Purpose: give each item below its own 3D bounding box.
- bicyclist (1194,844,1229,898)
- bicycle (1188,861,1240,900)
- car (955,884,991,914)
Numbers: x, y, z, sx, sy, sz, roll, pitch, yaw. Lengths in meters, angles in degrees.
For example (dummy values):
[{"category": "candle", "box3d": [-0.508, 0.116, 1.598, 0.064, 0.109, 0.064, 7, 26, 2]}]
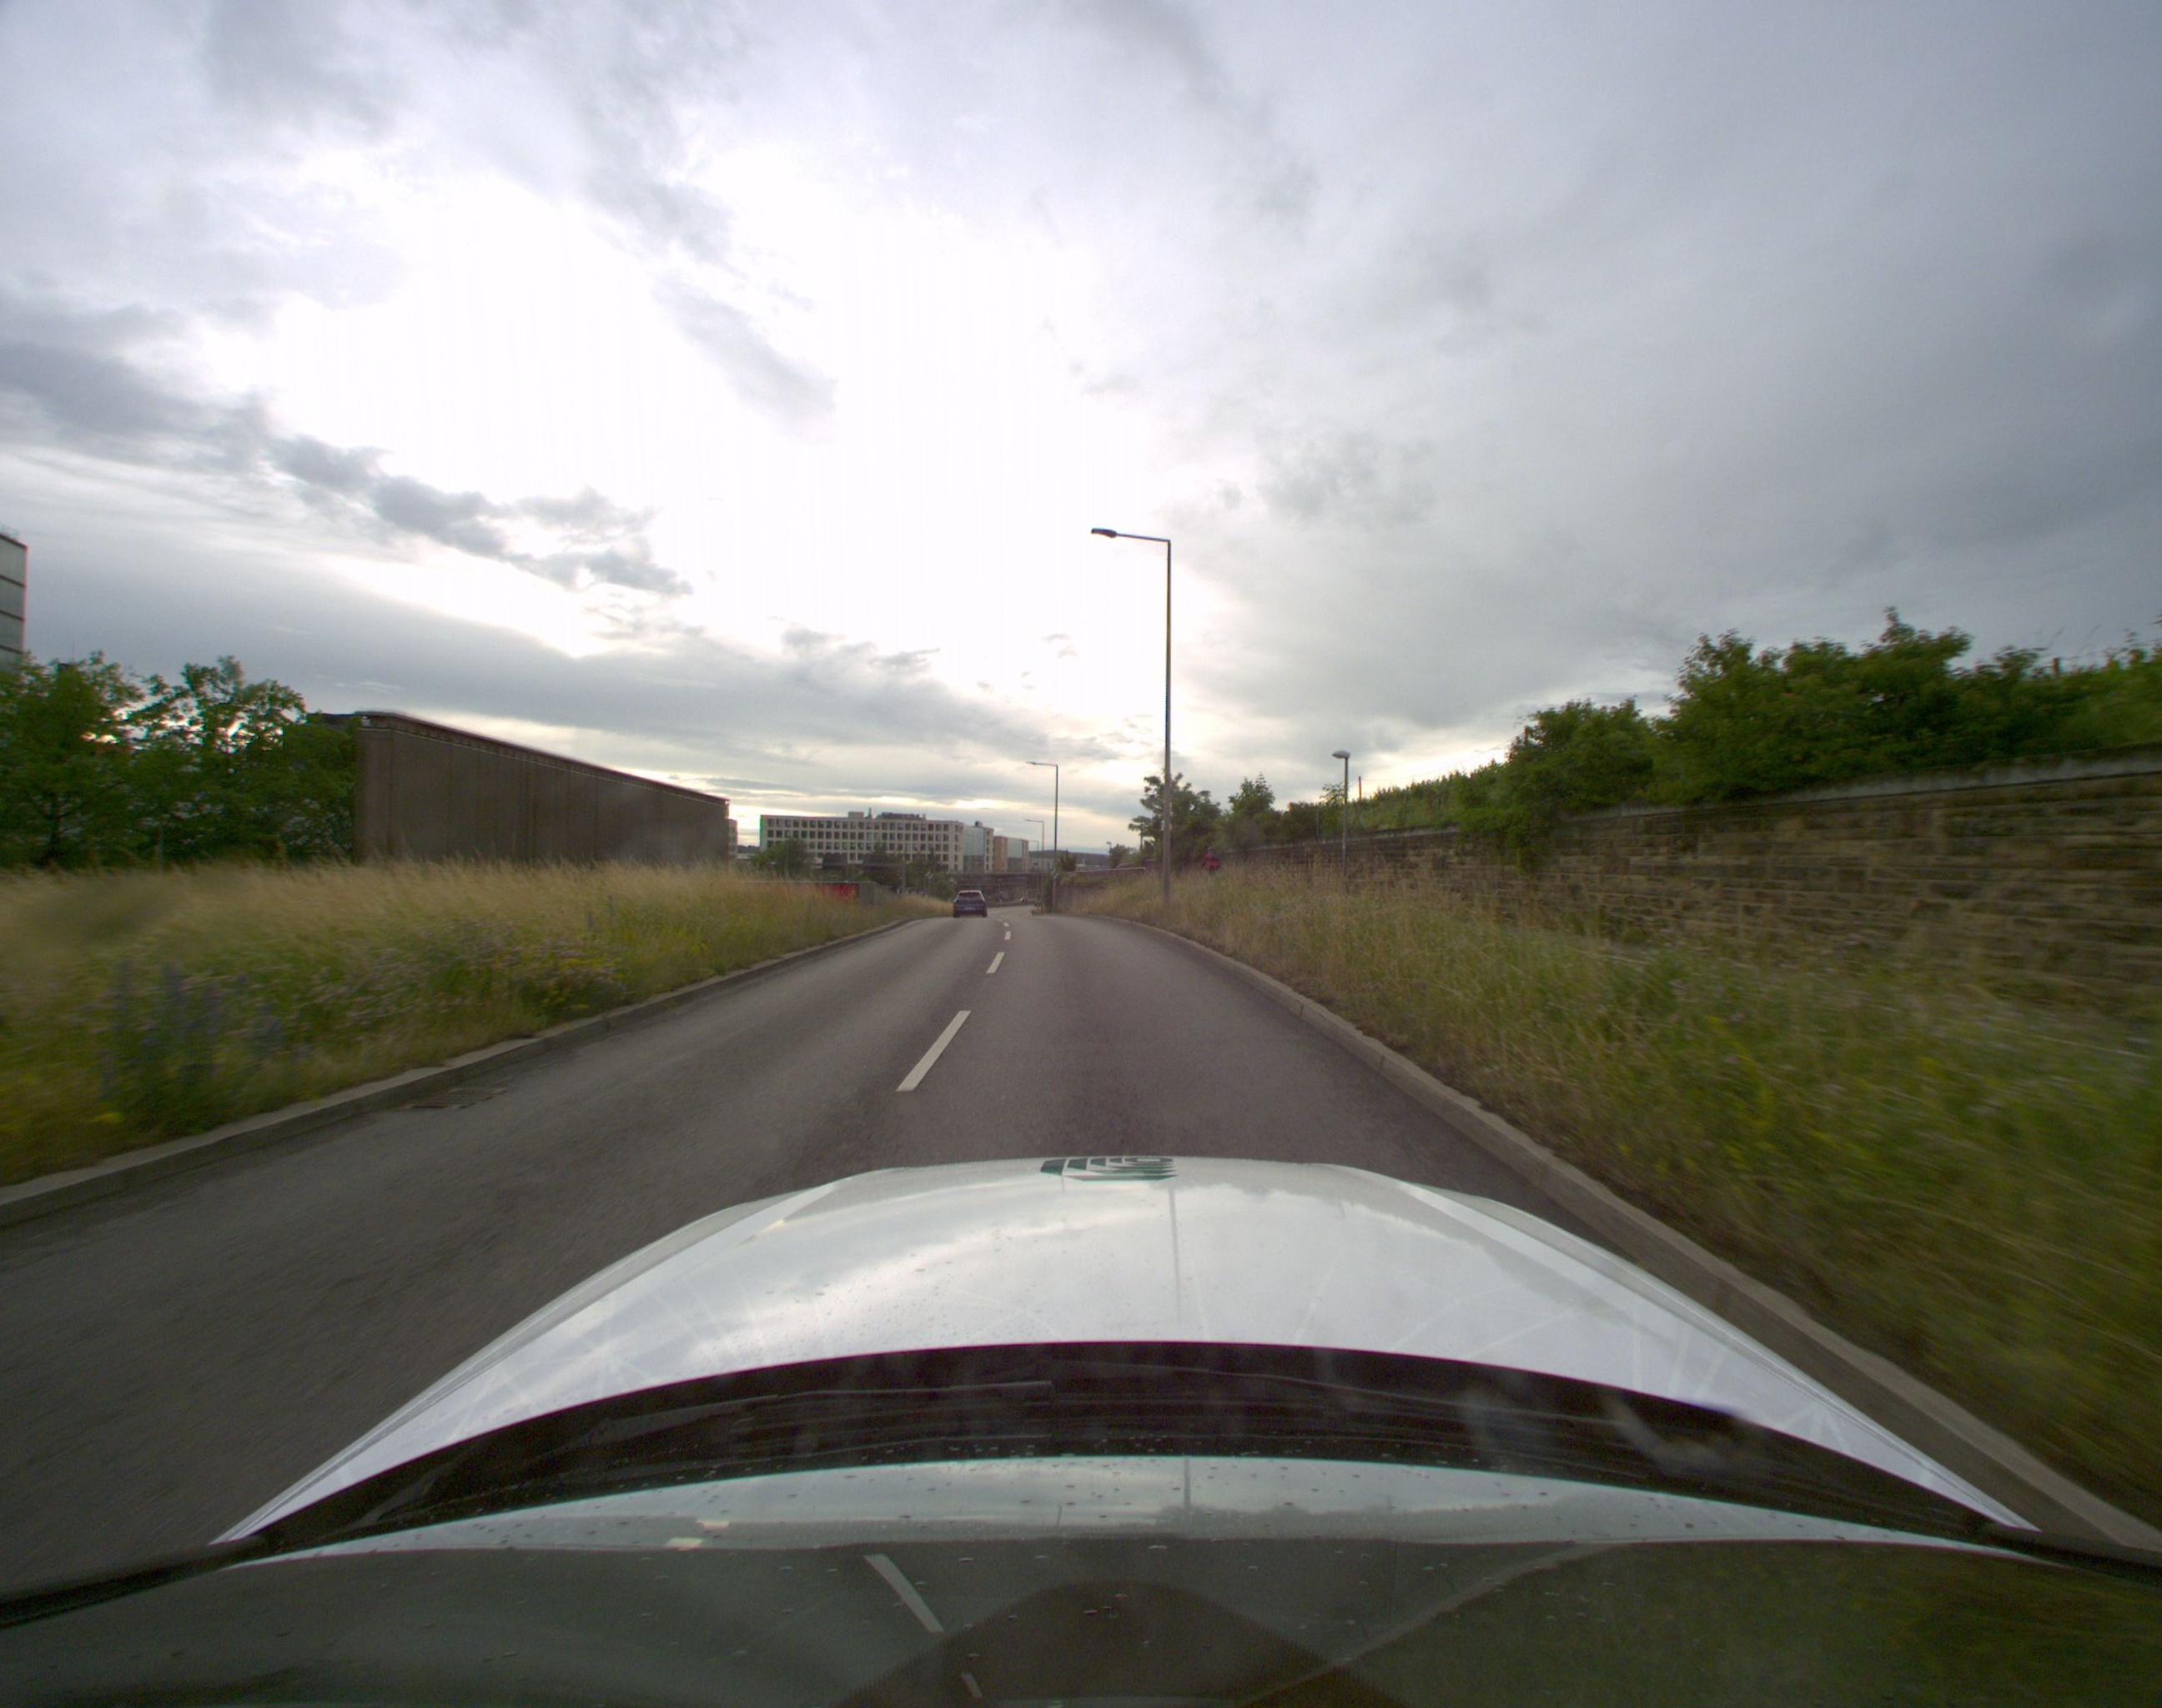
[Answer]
[{"category": "bicyclist", "box3d": [4.760, 0.617, 29.691, 0.868, 1.909, 1.290, 3, -2, -8]}, {"category": "bicycle", "box3d": [4.774, 0.925, 29.572, 0.868, 1.288, 3.478, 3, -1, -7]}, {"category": "car", "box3d": [-5.773, 2.404, 43.995, 1.746, 1.420, 3.472, 1, -1, -5]}]
